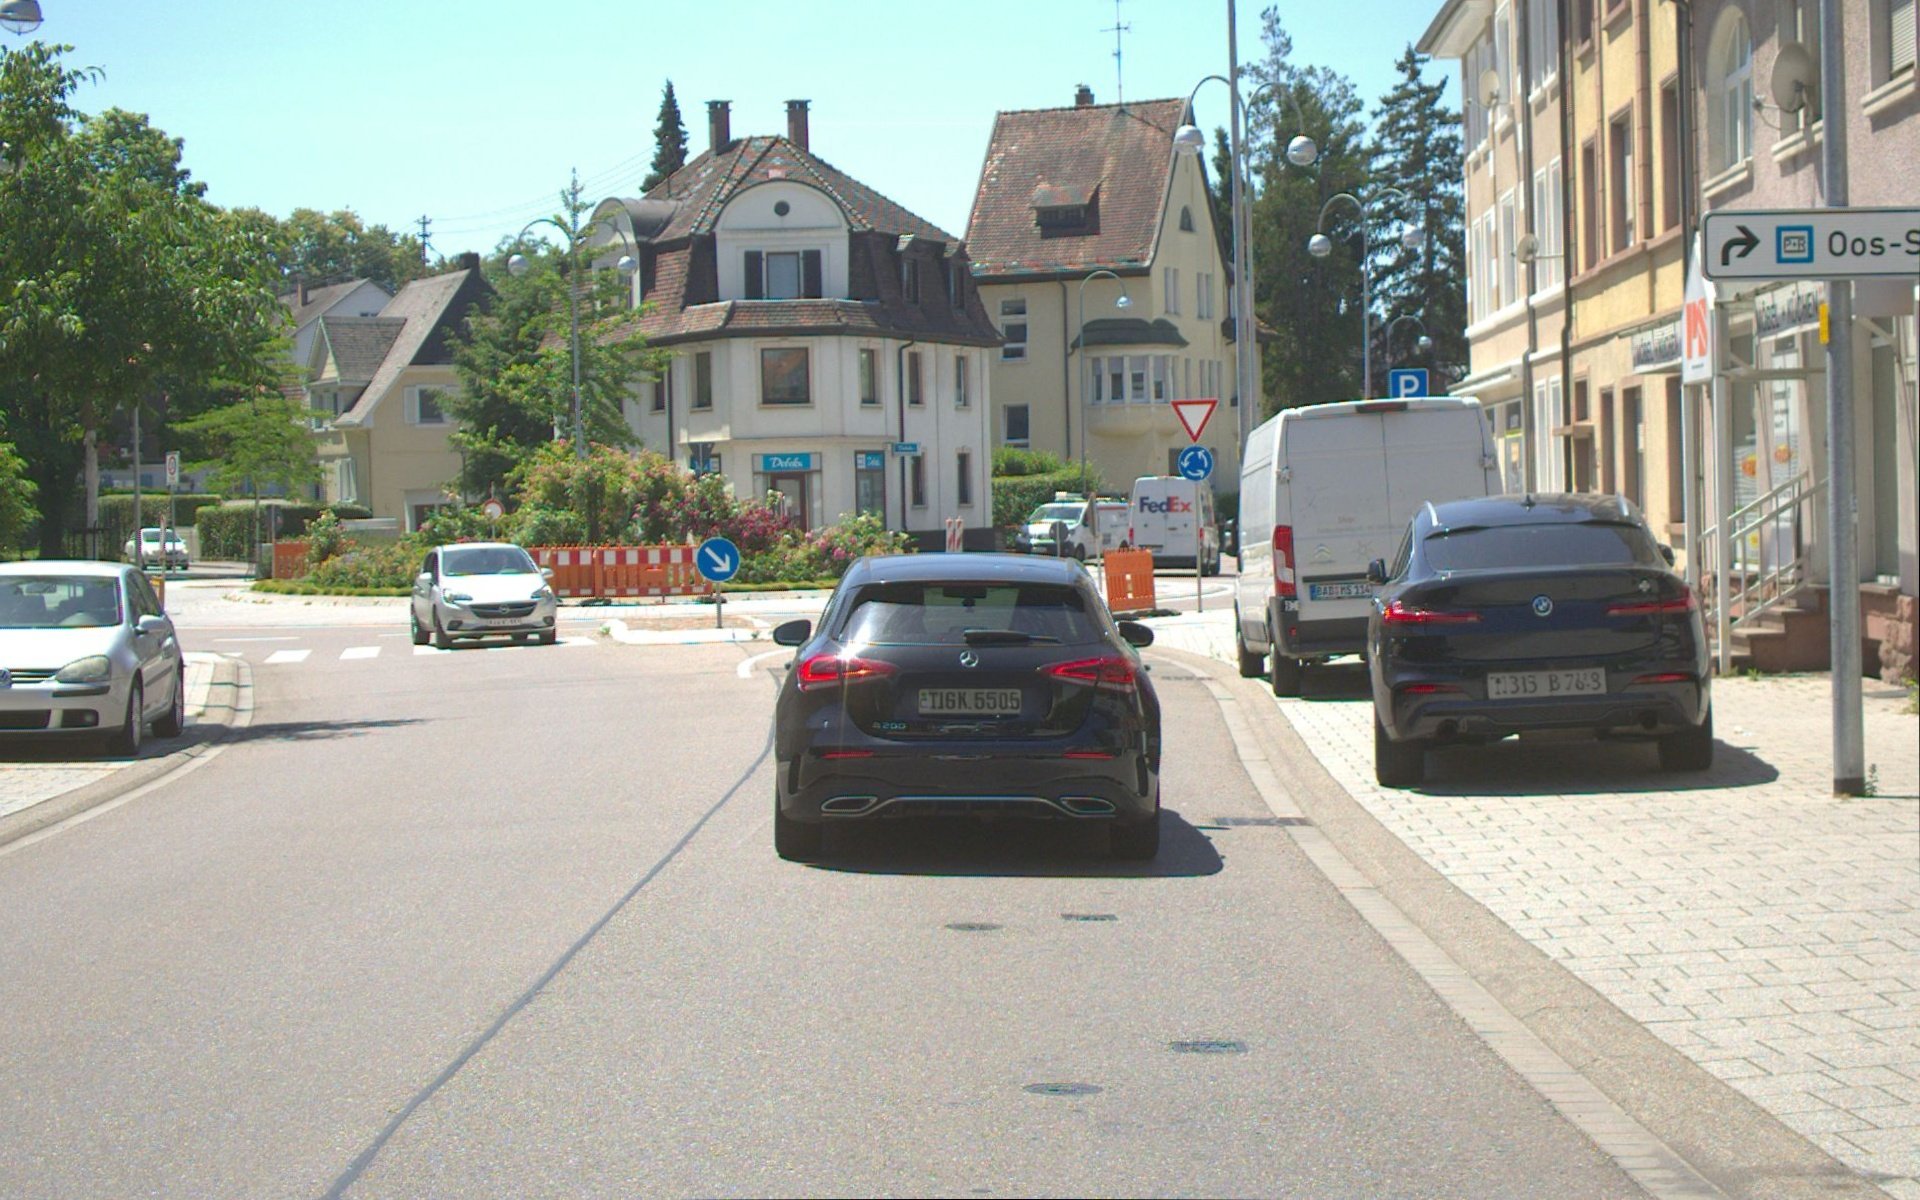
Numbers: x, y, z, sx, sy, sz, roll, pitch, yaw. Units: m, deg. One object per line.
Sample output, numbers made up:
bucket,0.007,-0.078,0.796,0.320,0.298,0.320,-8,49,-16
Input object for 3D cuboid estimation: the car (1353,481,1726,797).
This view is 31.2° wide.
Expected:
car,3.381,0.164,20.569,1.896,1.602,4.363,-3,1,8

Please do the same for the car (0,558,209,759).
car,-7.139,0.402,26.839,1.993,1.415,4.089,0,1,-5

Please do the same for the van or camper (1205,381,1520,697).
van or camper,3.608,-0.584,31.928,2.165,2.580,5.766,-3,1,0

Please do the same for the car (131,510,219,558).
car,-28.402,-2.371,124.471,1.785,1.592,3.919,-1,-1,8

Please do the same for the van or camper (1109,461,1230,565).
van or camper,5.443,-2.259,88.791,2.207,2.601,3.997,0,2,17

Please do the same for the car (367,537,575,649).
car,-7.046,-0.112,49.273,1.659,1.491,3.760,-3,1,-29

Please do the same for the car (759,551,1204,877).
car,0.069,0.493,17.131,1.953,1.422,4.000,0,0,-1

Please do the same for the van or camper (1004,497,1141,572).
van or camper,3.391,-1.923,102.511,1.996,2.164,5.405,1,1,26
